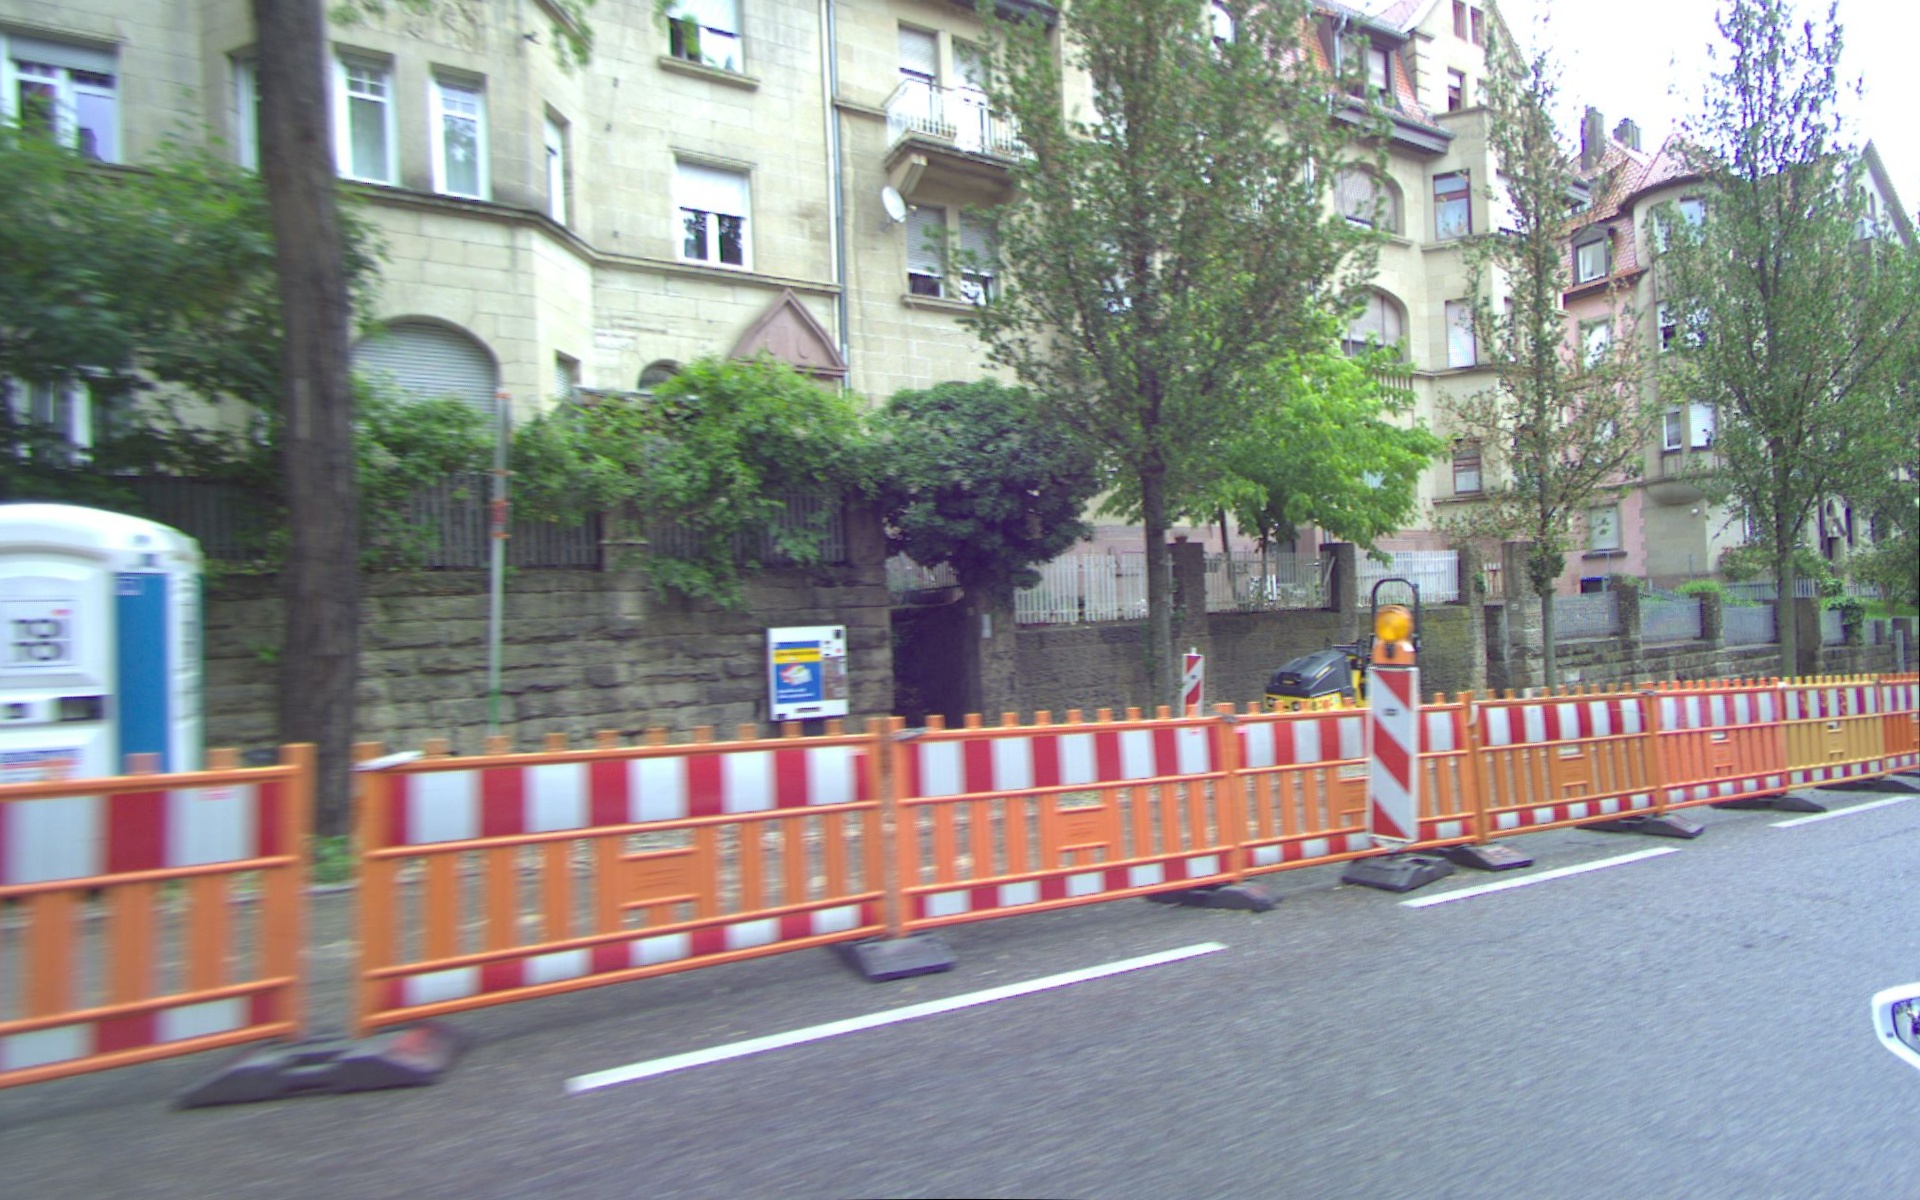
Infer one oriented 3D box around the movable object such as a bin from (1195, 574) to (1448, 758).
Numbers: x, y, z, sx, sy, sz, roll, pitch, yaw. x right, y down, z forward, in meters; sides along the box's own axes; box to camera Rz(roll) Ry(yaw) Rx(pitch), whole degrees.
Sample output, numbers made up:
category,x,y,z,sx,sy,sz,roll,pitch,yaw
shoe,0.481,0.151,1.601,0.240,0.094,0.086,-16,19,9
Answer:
category,x,y,z,sx,sy,sz,roll,pitch,yaw
movable object such as a bin,5.086,0.878,14.237,2.779,2.329,1.987,0,-2,-27
